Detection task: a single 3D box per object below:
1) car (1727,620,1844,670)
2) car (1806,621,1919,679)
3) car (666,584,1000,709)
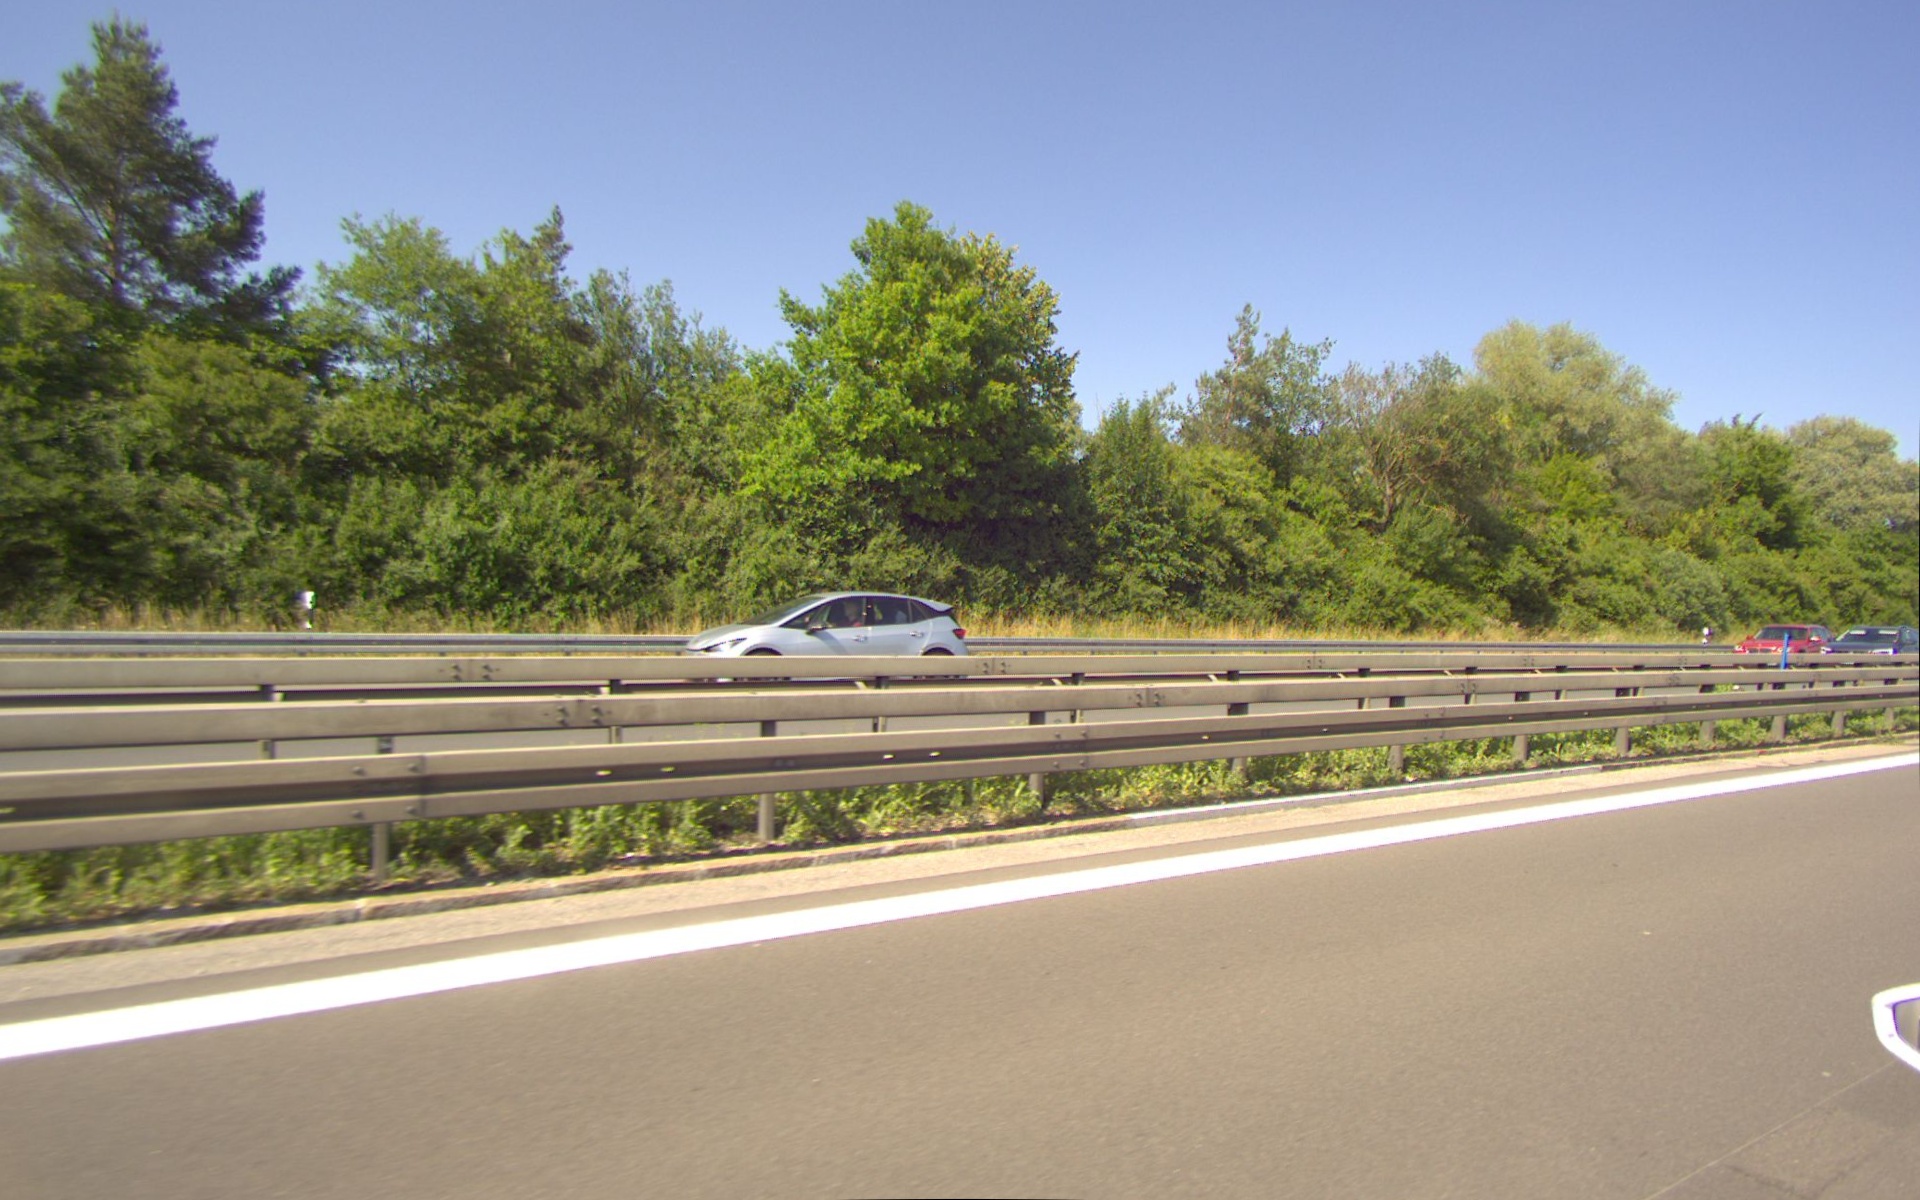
[{"bbox_3d":[27.408,1.484,33.330,4.488,1.513,1.640,2,0,-32],"label":"car"},{"bbox_3d":[26.284,1.416,28.904,4.488,1.513,1.640,2,0,-32],"label":"car"},{"bbox_3d":[-1.862,0.657,15.130,4.582,1.634,1.984,2,0,-30],"label":"car"}]
